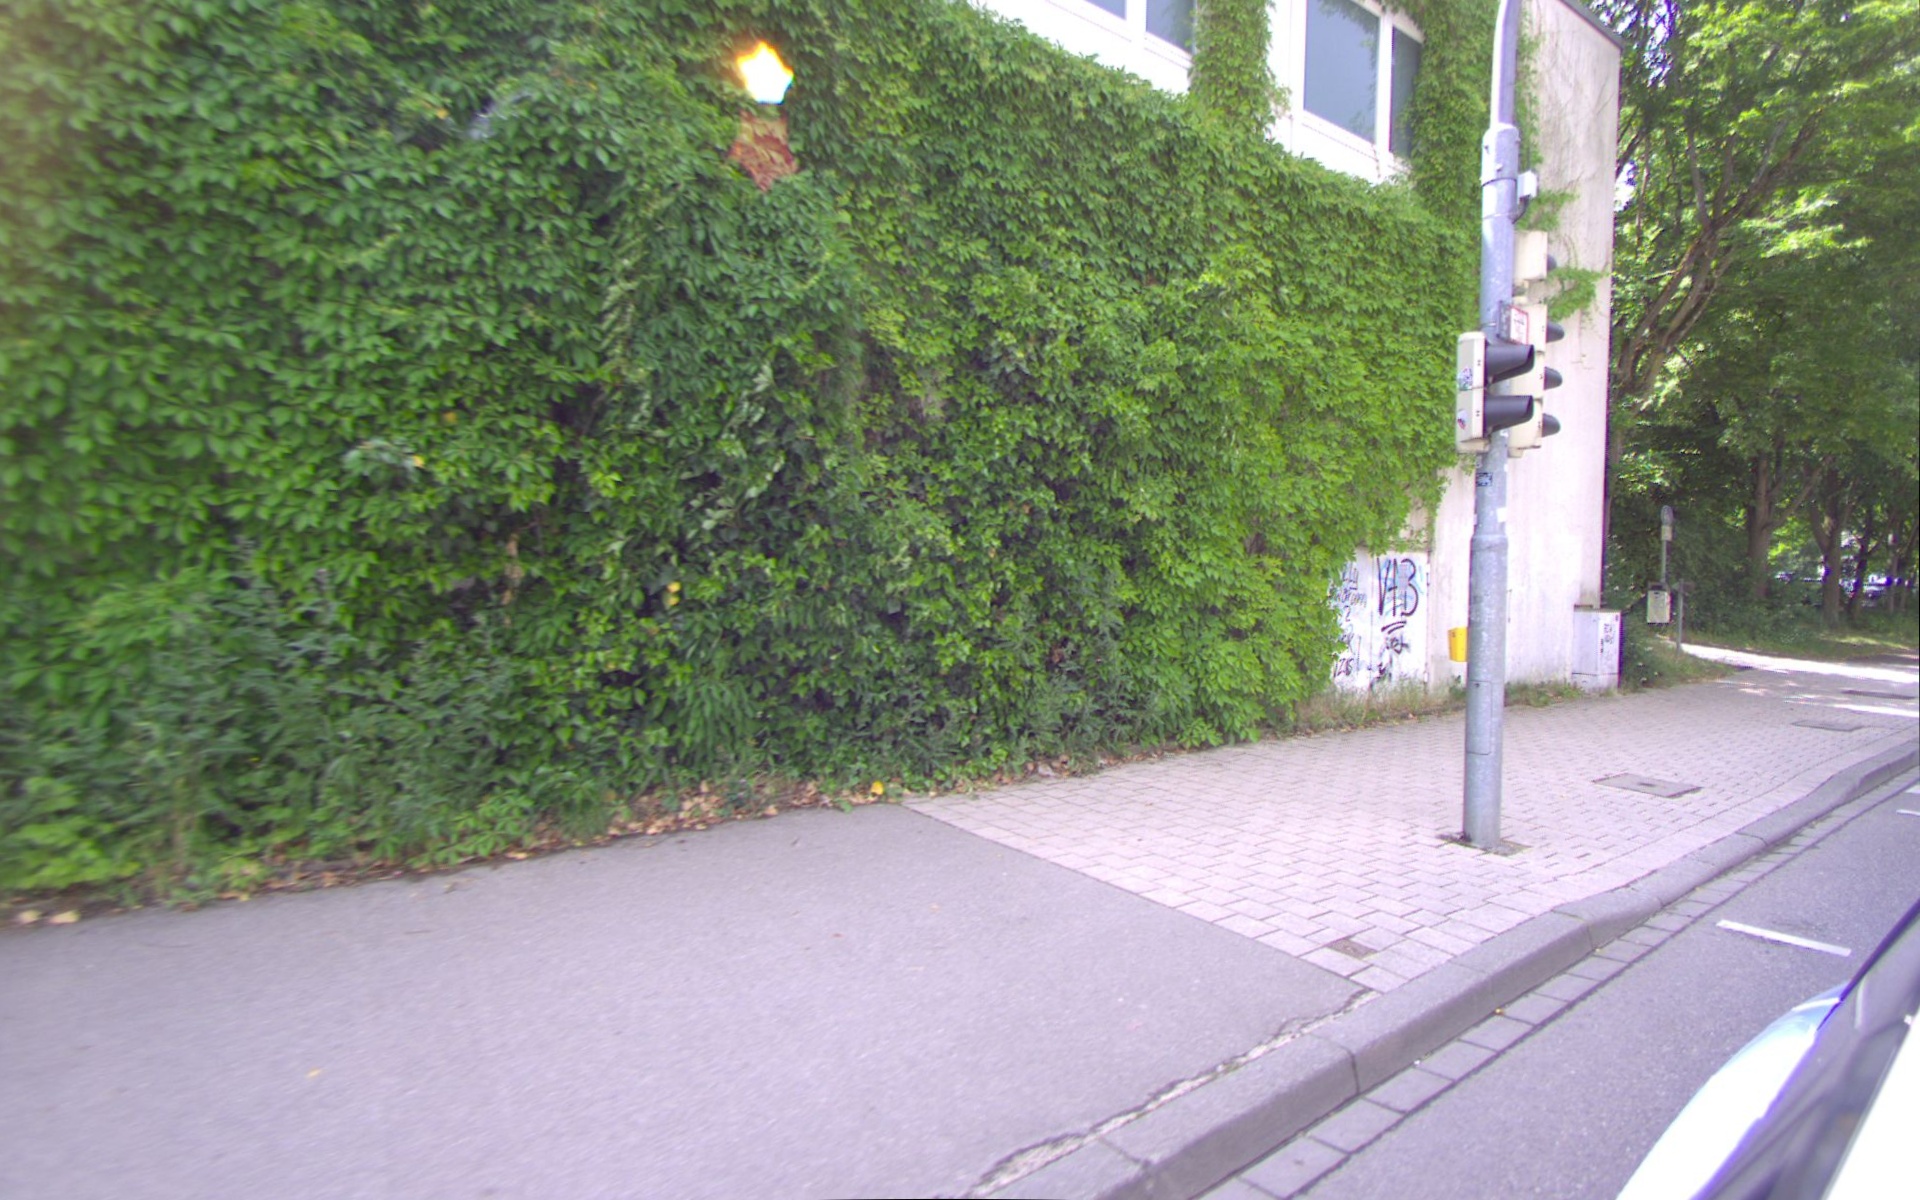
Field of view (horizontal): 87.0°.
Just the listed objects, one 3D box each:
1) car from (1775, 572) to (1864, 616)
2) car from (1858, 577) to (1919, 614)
[{"bbox_3d":[32.067,-0.233,37.723,3.608,1.561,1.757,0,1,-36],"label":"car"},{"bbox_3d":[41.822,-0.224,45.497,4.154,1.561,1.754,0,1,-42],"label":"car"}]
